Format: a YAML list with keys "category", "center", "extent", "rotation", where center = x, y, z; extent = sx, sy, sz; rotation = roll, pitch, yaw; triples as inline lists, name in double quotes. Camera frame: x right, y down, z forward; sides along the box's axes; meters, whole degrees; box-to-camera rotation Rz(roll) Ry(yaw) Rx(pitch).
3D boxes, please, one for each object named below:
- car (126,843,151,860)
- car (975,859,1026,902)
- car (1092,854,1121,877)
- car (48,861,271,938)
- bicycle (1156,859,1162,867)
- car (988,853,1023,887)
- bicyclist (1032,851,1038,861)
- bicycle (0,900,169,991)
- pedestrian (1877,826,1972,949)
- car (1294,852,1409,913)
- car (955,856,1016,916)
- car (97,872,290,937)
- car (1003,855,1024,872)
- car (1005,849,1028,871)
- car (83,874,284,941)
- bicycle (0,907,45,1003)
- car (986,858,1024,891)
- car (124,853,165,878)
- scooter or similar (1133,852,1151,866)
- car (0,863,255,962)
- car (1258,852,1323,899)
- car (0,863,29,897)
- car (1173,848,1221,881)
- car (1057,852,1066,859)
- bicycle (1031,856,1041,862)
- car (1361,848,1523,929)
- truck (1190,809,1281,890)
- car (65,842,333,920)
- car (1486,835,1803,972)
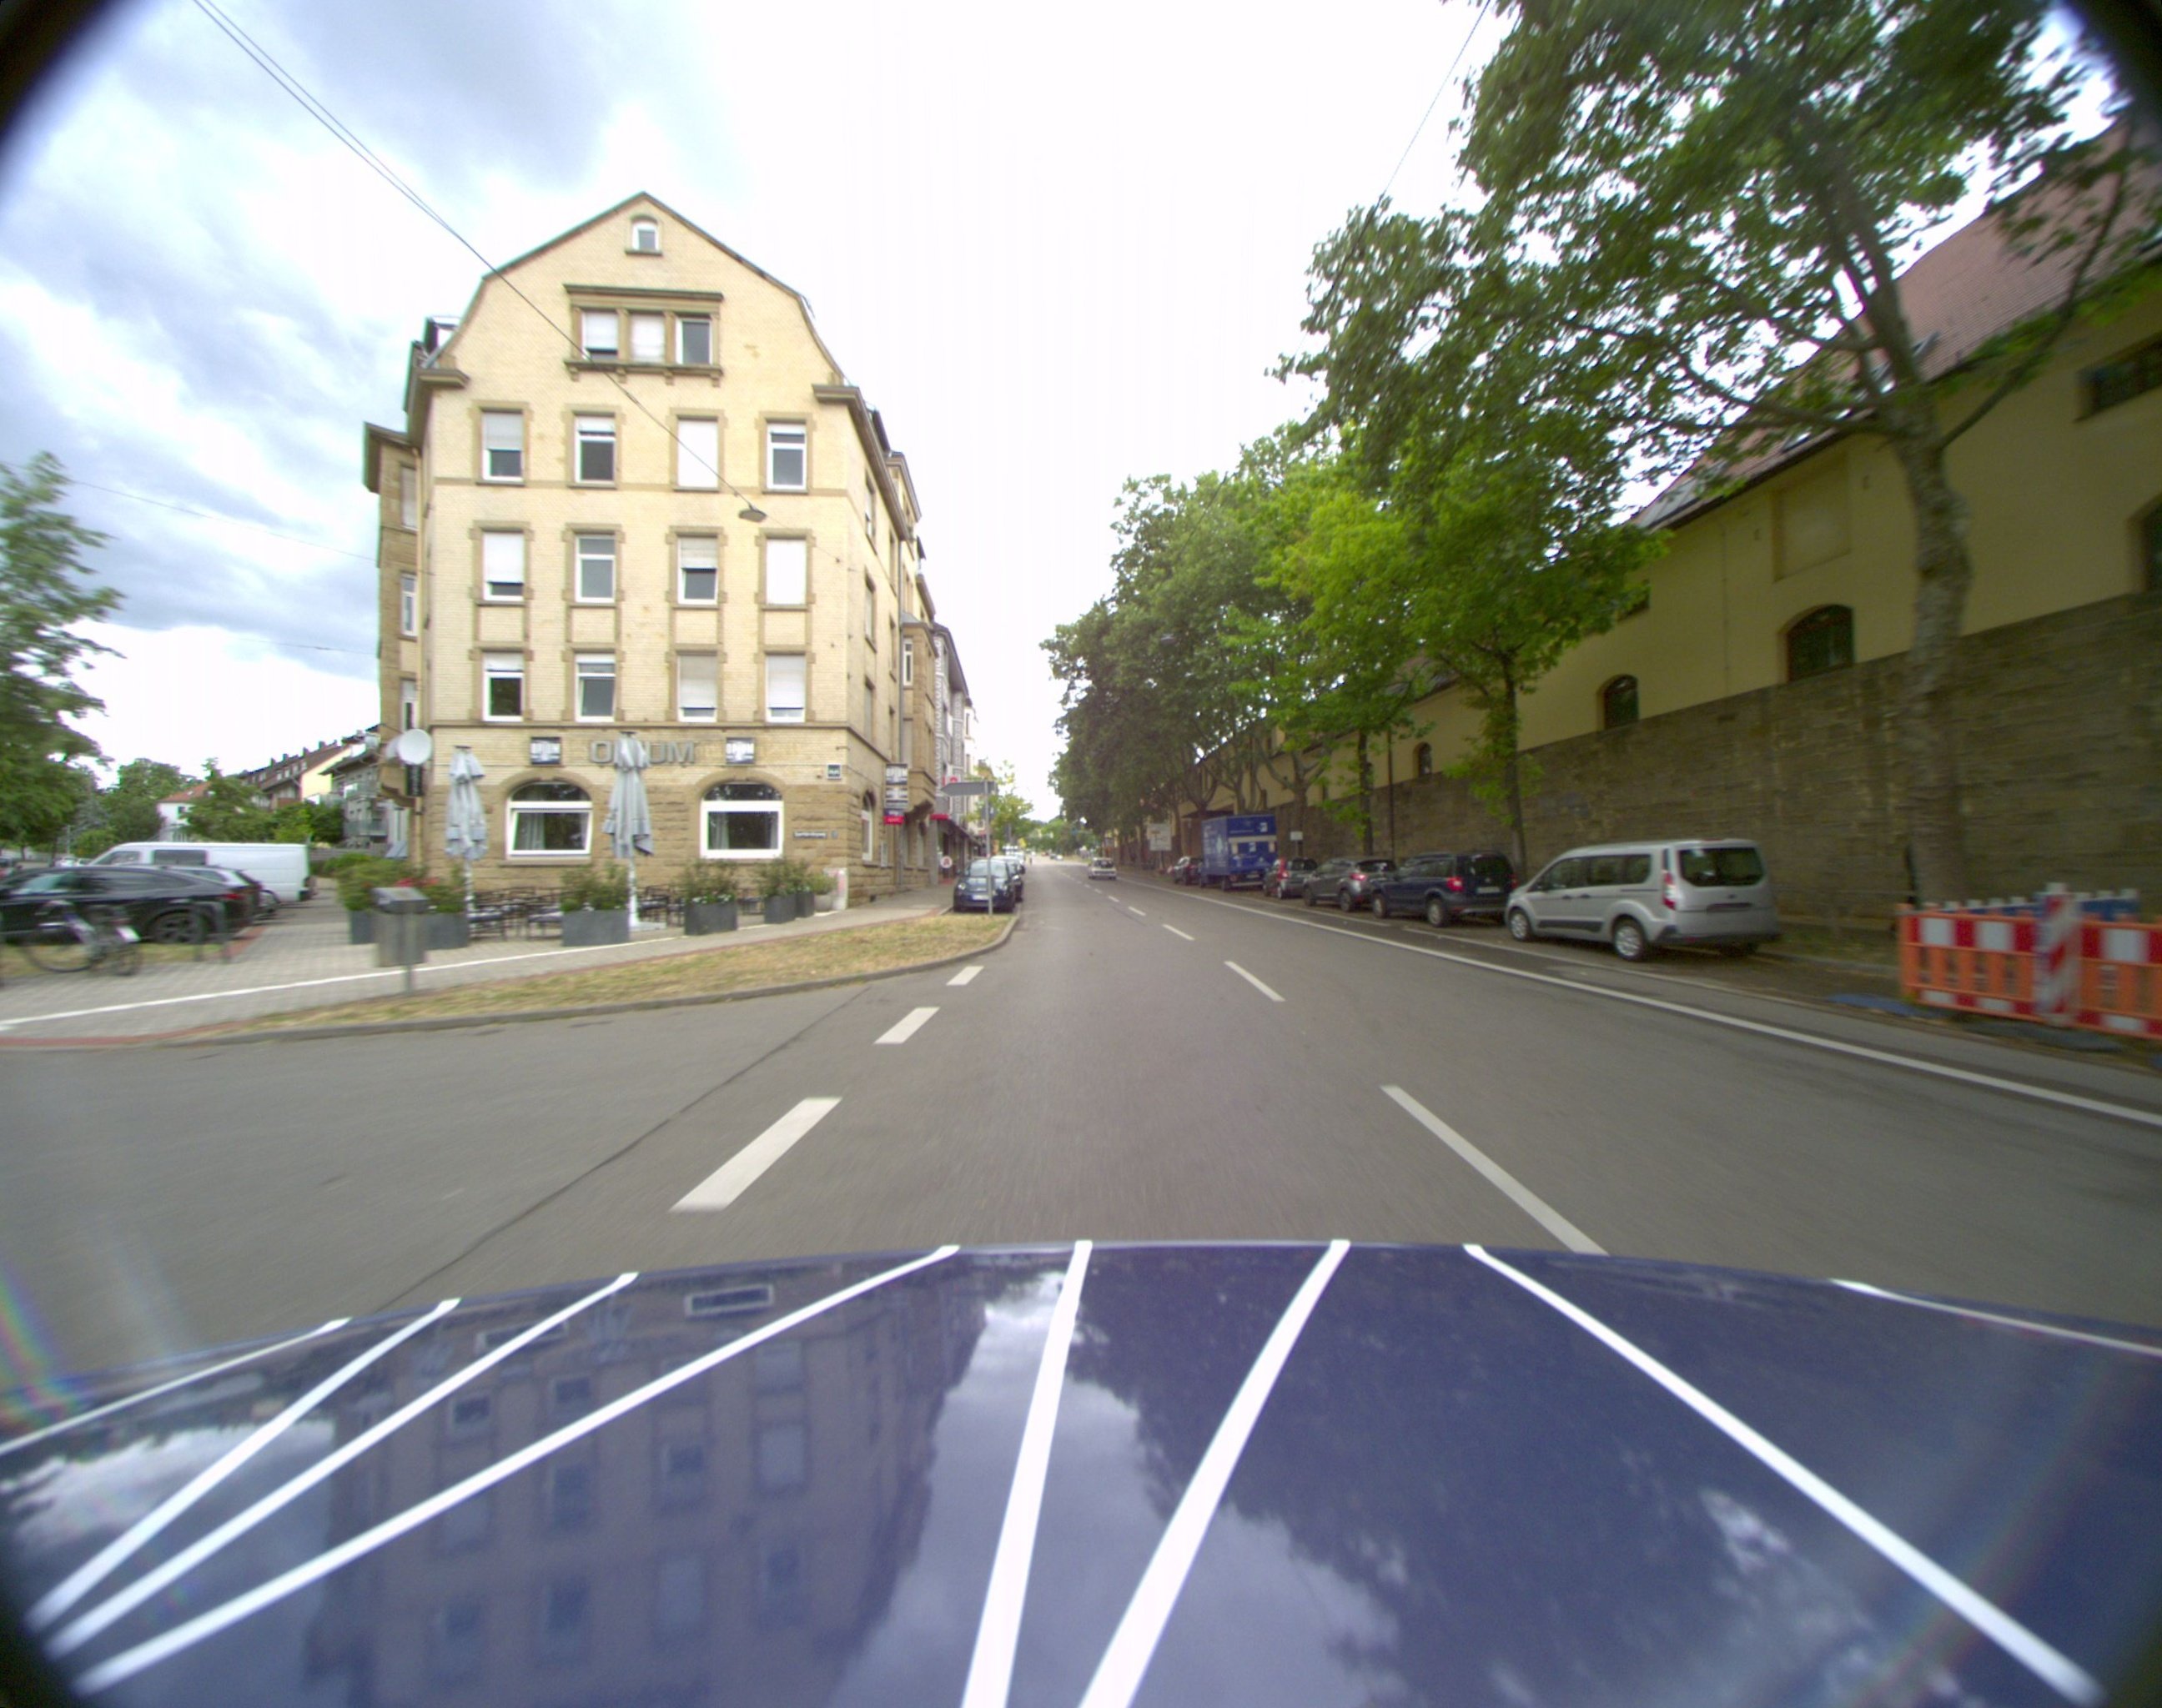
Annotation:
- category: "car"
  center: [-121.475, -0.285, 97.910]
  extent: [3.989, 2.002, 1.820]
  rotation: [-2, 2, 40]
- category: "car"
  center: [-3.036, 0.931, 28.853]
  extent: [1.744, 1.454, 4.772]
  rotation: [1, 0, -6]
- category: "car"
  center: [1.691, 0.727, 51.332]
  extent: [1.587, 1.455, 3.650]
  rotation: [1, 0, -4]
- category: "car"
  center: [-21.232, 0.986, 17.642]
  extent: [1.544, 1.527, 3.166]
  rotation: [-2, 0, 39]
- category: "bicycle"
  center: [8.801, 1.047, 85.608]
  extent: [0.336, 0.841, 1.775]
  rotation: [-2, 0, -3]
- category: "car"
  center: [-3.988, 0.788, 39.842]
  extent: [1.684, 1.653, 4.541]
  rotation: [1, 0, -7]
- category: "bicyclist"
  center: [-7.431, 0.317, 122.813]
  extent: [0.748, 1.619, 0.683]
  rotation: [0, 1, 31]
- category: "bicycle"
  center: [-13.203, 1.173, 10.023]
  extent: [2.183, 1.060, 0.602]
  rotation: [0, 1, 14]
- category: "pedestrian"
  center: [12.809, 0.483, 11.556]
  extent: [0.594, 1.789, 0.742]
  rotation: [-3, 2, -3]
- category: "car"
  center: [8.069, 0.778, 23.077]
  extent: [1.599, 1.564, 4.084]
  rotation: [-3, 1, -7]
- category: "car"
  center: [-2.790, 0.892, 22.823]
  extent: [1.569, 1.601, 3.652]
  rotation: [0, 0, -4]
- category: "car"
  center: [-24.243, 1.329, 20.867]
  extent: [1.544, 1.429, 3.301]
  rotation: [-2, 2, 39]
- category: "car"
  center: [-5.672, 0.807, 64.179]
  extent: [1.688, 1.407, 4.040]
  rotation: [0, 0, -4]
- category: "car"
  center: [-5.969, 0.515, 70.120]
  extent: [1.912, 1.919, 4.917]
  rotation: [0, 0, -7]
- category: "car"
  center: [-23.061, 1.312, 19.615]
  extent: [1.469, 1.393, 3.184]
  rotation: [-2, 1, 37]
- category: "bicycle"
  center: [-13.483, 1.182, 9.024]
  extent: [2.183, 1.060, 0.602]
  rotation: [0, 1, 14]
- category: "car"
  center: [-3.488, 0.905, 35.193]
  extent: [1.610, 1.389, 4.274]
  rotation: [1, 0, -5]
- category: "car"
  center: [-79.838, 0.976, 64.806]
  extent: [3.989, 2.002, 1.720]
  rotation: [-2, 2, 44]
- category: "scooter or similar"
  center: [5.922, 0.485, 73.698]
  extent: [1.623, 1.233, 0.446]
  rotation: [-3, 1, -26]
- category: "car"
  center: [-18.378, 1.006, 13.832]
  extent: [1.994, 1.587, 4.382]
  rotation: [0, 1, 39]
- category: "car"
  center: [7.902, 0.768, 28.900]
  extent: [1.484, 1.564, 2.990]
  rotation: [-3, 1, -3]
- category: "car"
  center: [-53.640, 1.252, 37.062]
  extent: [4.360, 1.587, 2.004]
  rotation: [0, 1, 45]
- category: "car"
  center: [6.520, 0.563, 43.117]
  extent: [1.736, 1.679, 4.250]
  rotation: [-3, 1, -5]
- category: "car"
  center: [-5.244, 0.408, 203.584]
  extent: [1.920, 1.640, 3.633]
  rotation: [-3, 1, 4]
- category: "bicycle"
  center: [-7.335, 0.756, 122.852]
  extent: [1.716, 0.986, 0.369]
  rotation: [0, 1, 32]
- category: "car"
  center: [8.460, 0.722, 18.234]
  extent: [1.513, 1.622, 4.112]
  rotation: [-3, 1, -6]
- category: "truck"
  center: [7.195, -0.209, 36.437]
  extent: [2.221, 3.396, 7.243]
  rotation: [-3, 1, -5]
- category: "car"
  center: [-28.405, 0.766, 24.862]
  extent: [5.509, 2.279, 1.994]
  rotation: [-1, 1, -44]
- category: "car"
  center: [8.953, 0.671, 12.680]
  extent: [1.839, 1.865, 4.414]
  rotation: [0, 0, -3]
